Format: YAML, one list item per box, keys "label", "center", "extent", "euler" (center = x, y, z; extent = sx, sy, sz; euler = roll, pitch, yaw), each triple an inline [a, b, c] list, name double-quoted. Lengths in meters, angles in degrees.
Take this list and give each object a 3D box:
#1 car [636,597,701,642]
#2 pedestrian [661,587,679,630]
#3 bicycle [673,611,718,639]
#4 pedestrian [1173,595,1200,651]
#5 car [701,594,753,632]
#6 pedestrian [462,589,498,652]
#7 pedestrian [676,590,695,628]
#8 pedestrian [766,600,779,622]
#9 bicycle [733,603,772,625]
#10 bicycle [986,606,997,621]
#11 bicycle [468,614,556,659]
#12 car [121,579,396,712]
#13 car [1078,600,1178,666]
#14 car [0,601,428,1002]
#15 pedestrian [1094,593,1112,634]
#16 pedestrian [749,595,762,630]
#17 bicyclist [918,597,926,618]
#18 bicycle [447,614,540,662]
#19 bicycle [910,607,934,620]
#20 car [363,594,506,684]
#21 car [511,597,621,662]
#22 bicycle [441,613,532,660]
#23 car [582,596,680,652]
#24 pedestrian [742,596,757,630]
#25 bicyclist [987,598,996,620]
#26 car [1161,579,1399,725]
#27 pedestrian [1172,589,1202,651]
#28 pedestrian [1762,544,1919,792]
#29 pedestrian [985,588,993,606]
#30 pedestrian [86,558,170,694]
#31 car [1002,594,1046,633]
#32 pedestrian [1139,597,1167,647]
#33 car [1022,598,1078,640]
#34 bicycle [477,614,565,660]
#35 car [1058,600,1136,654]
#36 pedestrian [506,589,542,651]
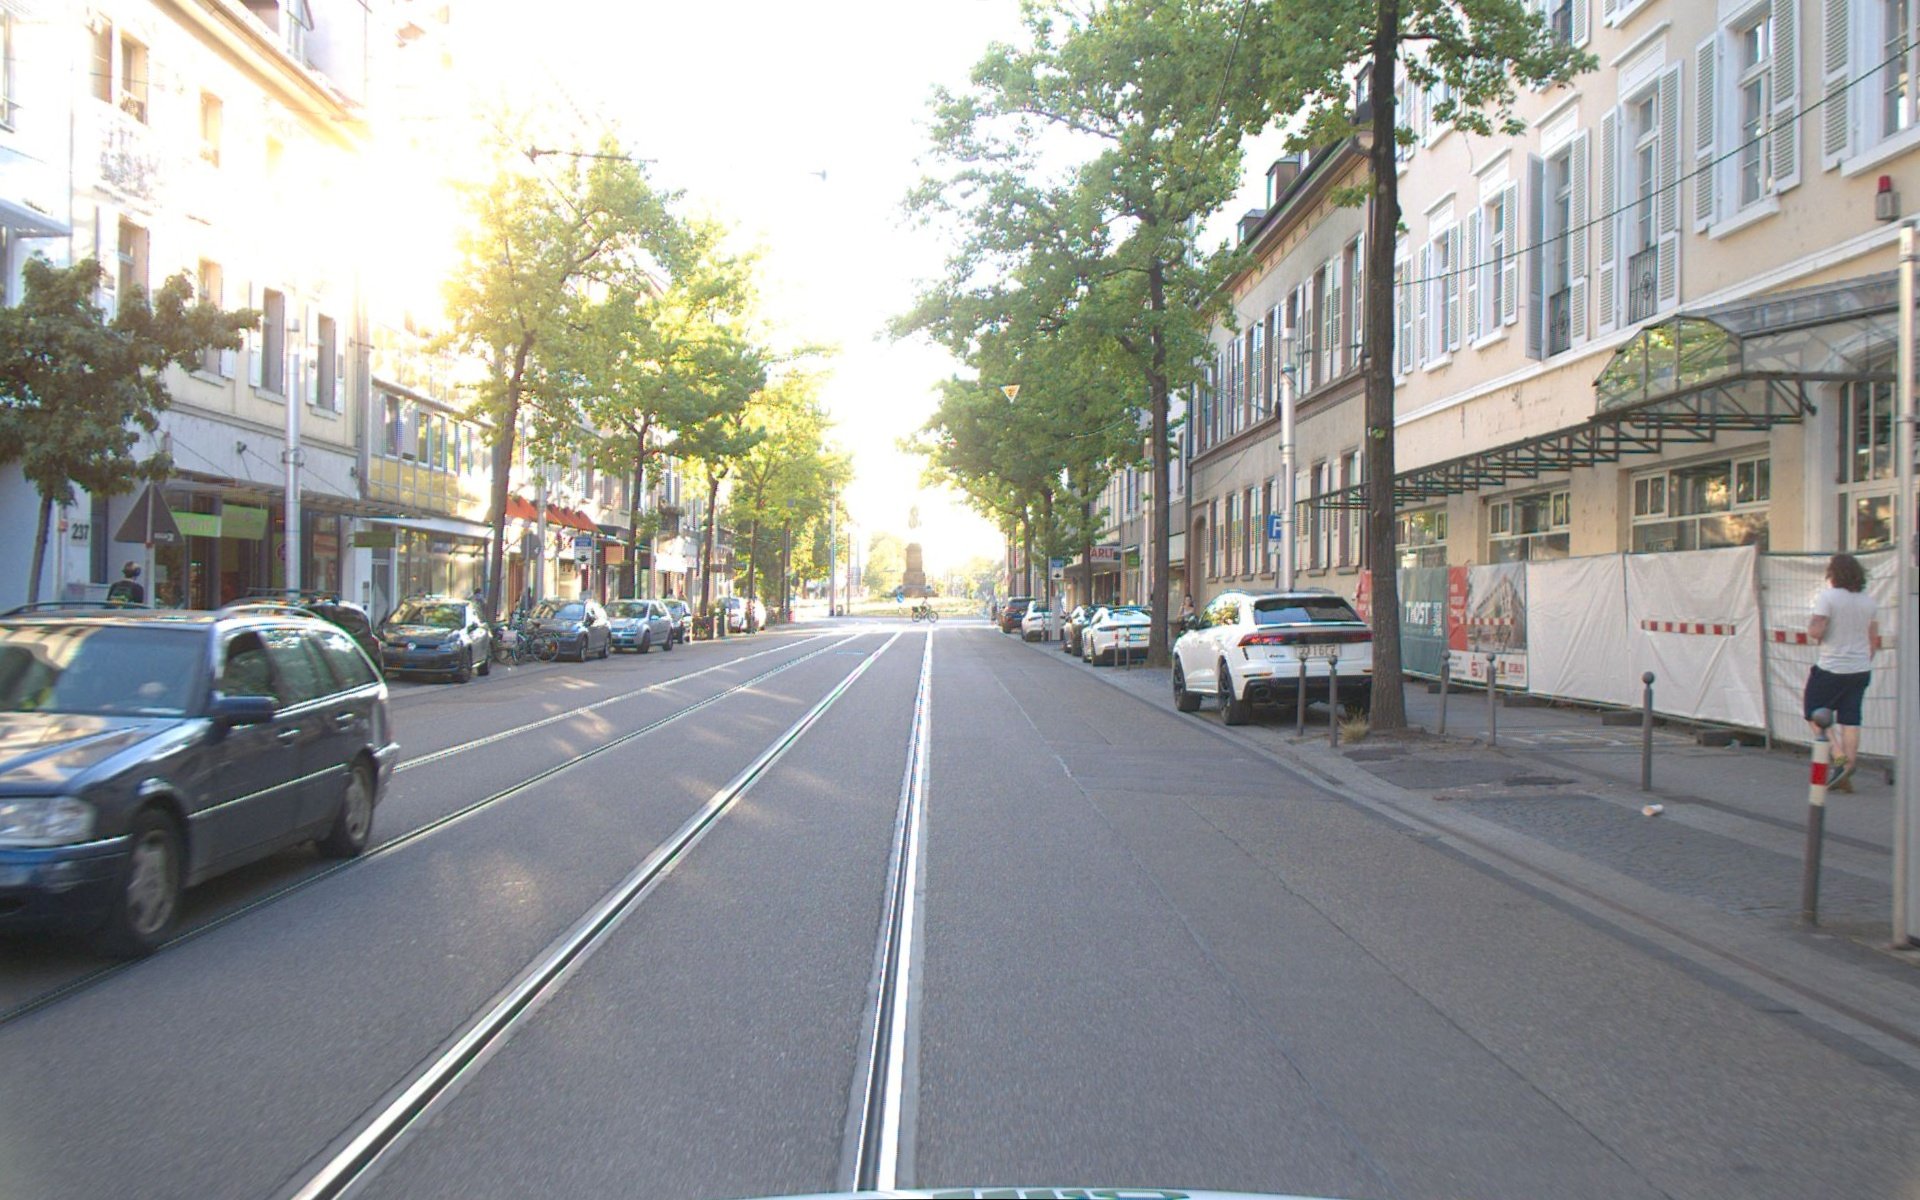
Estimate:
- label: "car"
  center: [-10.237, 0.667, 58.276]
  extent: [1.632, 1.453, 3.826]
  euler: [3, 0, -2]
- label: "pedestrian"
  center: [-13.951, 0.415, 79.561]
  extent: [0.707, 2.049, 0.642]
  euler: [1, 0, -1]
- label: "bicycle"
  center: [-10.019, 0.937, 62.567]
  extent: [1.582, 0.982, 0.433]
  euler: [2, 0, 4]
- label: "pedestrian"
  center: [7.008, 0.696, 51.137]
  extent: [0.644, 1.694, 0.888]
  euler: [-2, 0, -2]
- label: "car"
  center: [-10.971, 0.588, 77.992]
  extent: [1.799, 1.607, 4.116]
  euler: [4, 0, -1]
- label: "pedestrian"
  center: [-13.431, 0.570, 46.300]
  extent: [0.773, 1.723, 0.913]
  euler: [0, 0, -2]
- label: "pedestrian"
  center: [-13.186, 0.419, 79.542]
  extent: [0.707, 1.791, 1.090]
  euler: [1, 0, -1]
- label: "pedestrian"
  center: [-11.458, 0.659, 101.199]
  extent: [0.713, 1.313, 0.856]
  euler: [1, 0, -4]
- label: "bicycle"
  center: [-11.566, 0.777, 92.212]
  extent: [2.082, 1.124, 0.497]
  euler: [3, -1, -27]
- label: "bicycle"
  center: [2.142, 0.944, 112.903]
  extent: [0.259, 1.000, 1.338]
  euler: [0, 0, 22]
- label: "bicycle"
  center: [-10.325, 0.841, 38.155]
  extent: [1.930, 1.019, 0.330]
  euler: [1, 0, 1]
- label: "car"
  center: [-9.680, 0.583, 23.134]
  extent: [1.595, 1.644, 3.711]
  euler: [2, 0, 14]
- label: "car"
  center: [4.081, 0.768, 40.925]
  extent: [1.873, 1.445, 4.887]
  euler: [-2, 0, -1]
- label: "car"
  center: [-4.174, 0.733, 8.228]
  extent: [1.743, 1.432, 4.526]
  euler: [0, 0, -2]
- label: "pedestrian"
  center: [6.075, 0.577, 70.188]
  extent: [0.630, 1.699, 0.786]
  euler: [-3, 0, -1]
- label: "pedestrian"
  center: [-9.380, 0.572, 75.829]
  extent: [0.510, 1.596, 0.633]
  euler: [0, -1, 0]
- label: "bicyclist"
  center: [-2.618, 0.503, 114.392]
  extent: [0.525, 1.463, 0.367]
  euler: [0, 0, -1]
- label: "bicycle"
  center: [-10.174, 0.829, 36.078]
  extent: [1.930, 1.019, 0.330]
  euler: [1, 0, 1]
- label: "bicycle"
  center: [-2.628, 0.907, 114.382]
  extent: [1.696, 0.880, 0.367]
  euler: [0, 0, -2]
- label: "car"
  center: [-9.845, 0.692, 31.269]
  extent: [1.758, 1.516, 4.236]
  euler: [2, 0, -7]
- label: "car"
  center: [-9.775, 0.701, 41.366]
  extent: [1.677, 1.486, 4.485]
  euler: [2, 0, -1]
- label: "bicycle"
  center: [-10.671, 0.823, 37.320]
  extent: [1.929, 1.019, 0.419]
  euler: [1, 0, 3]
- label: "car"
  center: [-9.427, 0.681, 47.740]
  extent: [1.730, 1.523, 4.176]
  euler: [1, 0, 4]
- label: "pedestrian"
  center: [-9.542, 0.594, 75.025]
  extent: [0.607, 1.536, 0.729]
  euler: [0, -1, 0]
- label: "bicyclist"
  center: [2.142, 0.635, 112.887]
  extent: [0.419, 1.507, 0.466]
  euler: [0, 0, 22]
- label: "car"
  center: [4.223, 0.657, 22.703]
  extent: [1.958, 1.717, 4.963]
  euler: [-2, 0, -4]
- label: "pedestrian"
  center: [5.952, 0.518, 43.369]
  extent: [0.636, 1.601, 0.798]
  euler: [1, 0, -1]
- label: "pedestrian"
  center: [7.143, 0.530, 13.439]
  extent: [0.698, 1.919, 1.053]
  euler: [-1, 0, -1]
- label: "pedestrian"
  center: [2.620, -0.290, 148.436]
  extent: [0.623, 1.634, 0.771]
  euler: [0, 0, -3]
- label: "pedestrian"
  center: [-11.792, 0.365, 23.465]
  extent: [0.646, 1.857, 0.878]
  euler: [3, 0, -1]
- label: "car"
  center: [3.212, 0.661, 84.188]
  extent: [1.899, 1.790, 4.678]
  euler: [-3, 0, -1]
- label: "pedestrian"
  center: [7.163, 0.818, 61.298]
  extent: [0.841, 1.783, 0.932]
  euler: [-3, 0, -1]
- label: "car"
  center: [3.586, 0.742, 66.696]
  extent: [1.953, 1.524, 4.679]
  euler: [-3, 0, 0]
- label: "bicycle"
  center: [-10.024, 0.845, 37.775]
  extent: [1.930, 1.019, 0.330]
  euler: [1, 0, 1]
- label: "car"
  center: [4.087, 0.774, 50.034]
  extent: [1.796, 1.504, 4.760]
  euler: [-2, 0, -2]
- label: "pedestrian"
  center: [-12.286, 0.554, 46.606]
  extent: [0.827, 1.723, 0.740]
  euler: [0, 0, -2]
